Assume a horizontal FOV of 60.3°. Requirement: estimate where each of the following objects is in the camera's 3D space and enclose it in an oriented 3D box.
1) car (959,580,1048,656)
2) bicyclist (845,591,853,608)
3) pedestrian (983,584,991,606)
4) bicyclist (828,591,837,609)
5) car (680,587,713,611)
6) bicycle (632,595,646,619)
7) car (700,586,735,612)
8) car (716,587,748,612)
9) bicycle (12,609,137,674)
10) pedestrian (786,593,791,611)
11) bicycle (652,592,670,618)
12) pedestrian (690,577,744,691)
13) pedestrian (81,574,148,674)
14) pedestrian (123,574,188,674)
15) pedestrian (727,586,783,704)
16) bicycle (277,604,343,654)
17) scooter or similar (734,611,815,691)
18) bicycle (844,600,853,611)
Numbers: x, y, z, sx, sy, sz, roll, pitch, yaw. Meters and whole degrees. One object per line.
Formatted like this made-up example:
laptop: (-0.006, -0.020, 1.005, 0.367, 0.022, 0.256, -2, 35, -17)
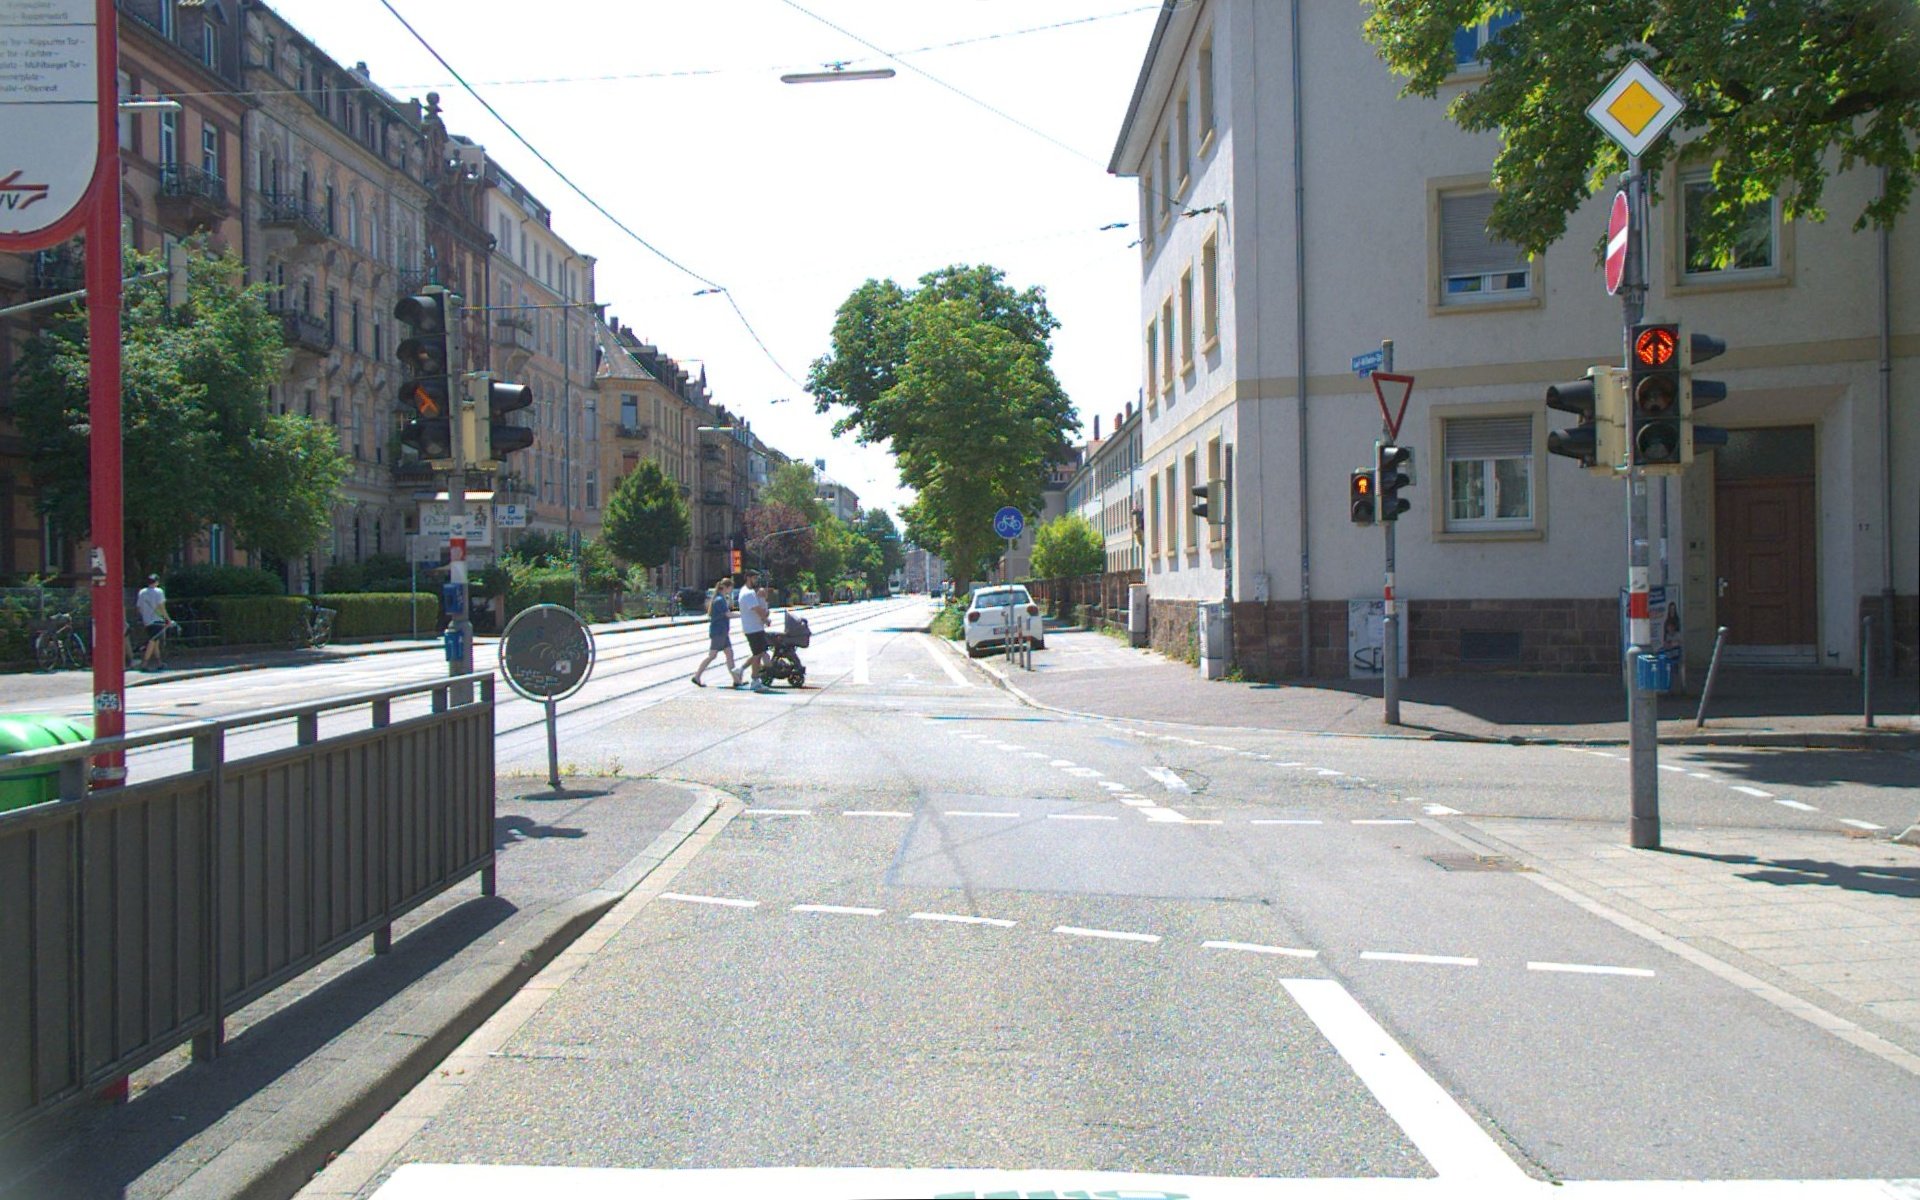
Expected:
car: (0.930, 0.397, 37.340, 1.778, 1.542, 3.999, -3, 0, -1)
bicyclist: (-12.087, -0.061, 179.942, 0.712, 1.799, 1.079, 1, 0, 1)
pedestrian: (1.975, -0.343, 120.847, 0.511, 1.590, 0.573, -1, 0, -1)
bicyclist: (-11.999, 0.037, 155.808, 0.712, 1.657, 1.079, 1, 0, 1)
car: (-19.670, -0.071, 123.609, 1.880, 1.745, 3.999, 1, 0, -1)
bicycle: (-15.495, 0.333, 79.789, 0.665, 1.083, 1.913, -1, 0, -12)
car: (-16.870, -0.057, 115.314, 1.880, 1.745, 3.999, 1, 0, -1)
car: (-17.039, -0.026, 123.575, 1.880, 1.745, 3.999, 1, 0, -1)
bicycle: (-16.710, 0.758, 31.306, 0.918, 1.156, 2.773, 1, 0, -2)
pedestrian: (-14.552, 0.184, 140.169, 0.398, 1.486, 0.436, -1, 0, -1)
bicycle: (-15.272, 0.247, 84.436, 0.664, 1.301, 1.917, -1, 0, -4)
pedestrian: (-3.659, 0.506, 24.921, 0.660, 1.674, 0.559, 1, -1, 6)
pedestrian: (-16.022, 0.435, 31.345, 0.799, 1.854, 0.873, 1, 1, 0)
pedestrian: (-15.263, 0.443, 31.402, 0.799, 1.854, 0.873, 1, 1, 0)
pedestrian: (-2.973, 0.646, 23.995, 0.660, 1.674, 0.559, 1, -1, 6)
bicycle: (-15.892, 0.698, 40.514, 0.920, 1.156, 2.767, 1, 0, -9)
scooter or similar: (-2.824, 0.769, 25.149, 1.179, 1.175, 0.557, 1, -1, -9)
bicycle: (-12.113, 0.605, 179.847, 0.712, 1.142, 2.085, 1, 0, 1)
